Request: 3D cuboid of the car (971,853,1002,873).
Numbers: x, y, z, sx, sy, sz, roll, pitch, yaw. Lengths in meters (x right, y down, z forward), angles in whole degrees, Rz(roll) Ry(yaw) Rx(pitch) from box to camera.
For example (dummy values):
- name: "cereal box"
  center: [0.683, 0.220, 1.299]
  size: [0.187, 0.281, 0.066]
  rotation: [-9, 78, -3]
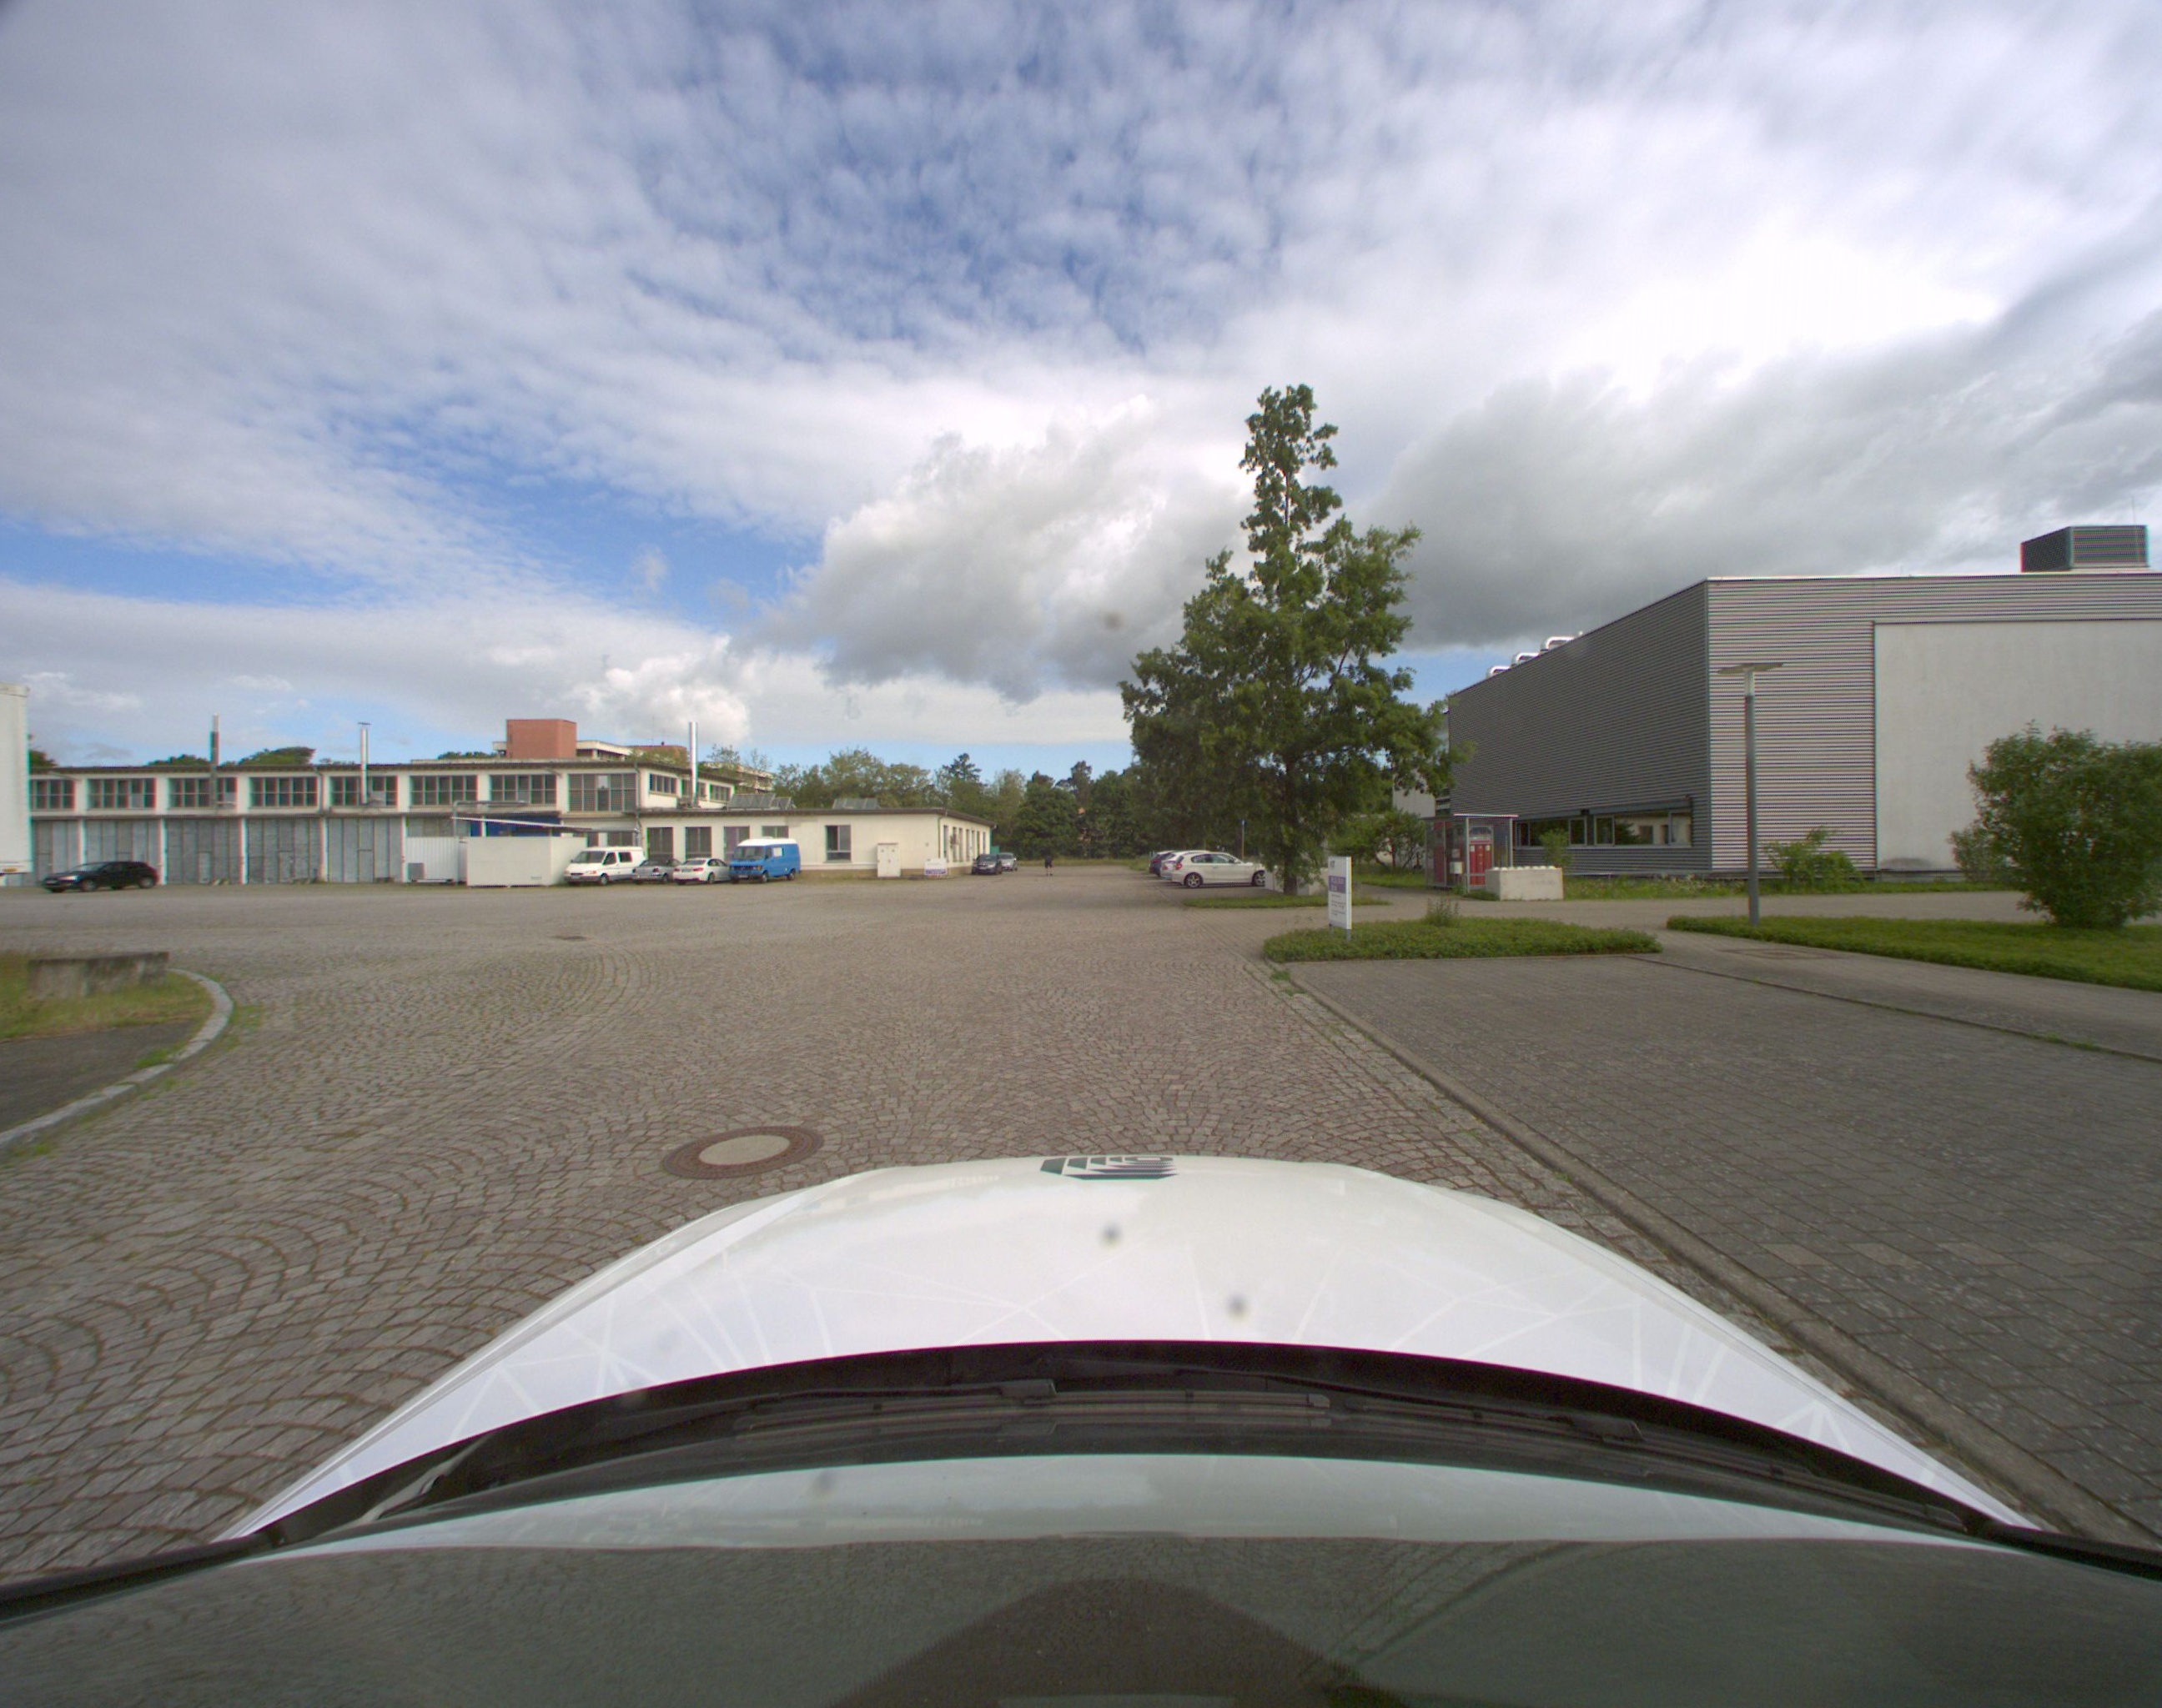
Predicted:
- name: "car"
  center: [-6.533, 0.605, 56.862]
  size: [1.744, 1.364, 3.998]
  rotation: [-1, 0, -1]

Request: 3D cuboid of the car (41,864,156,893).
- name: "car"
  center: [-53.413, 1.313, 44.379]
  size: [1.659, 1.410, 3.725]
  rotation: [-1, 0, 1]

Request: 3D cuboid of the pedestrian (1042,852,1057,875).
- name: "pedestrian"
  center: [-2.202, 0.636, 56.997]
  size: [0.936, 1.568, 0.971]
  rotation: [-1, 0, 2]

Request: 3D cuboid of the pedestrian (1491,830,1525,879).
- name: "pedestrian"
  center: [17.230, 0.030, 32.851]
  size: [0.922, 1.936, 0.847]
  rotation: [0, 0, -29]

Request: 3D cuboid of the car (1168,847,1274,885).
- name: "car"
  center: [5.550, 0.484, 32.703]
  size: [3.972, 1.455, 2.001]
  rotation: [0, -1, 1]

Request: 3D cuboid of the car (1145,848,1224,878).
- name: "car"
  center: [5.398, 0.458, 42.822]
  size: [3.972, 1.455, 1.770]
  rotation: [-1, 0, 1]

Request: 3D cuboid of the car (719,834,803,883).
- name: "car"
  center: [-17.698, 0.251, 45.380]
  size: [1.984, 2.523, 5.625]
  rotation: [-1, 0, 5]

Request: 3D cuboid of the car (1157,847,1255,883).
- name: "car"
  center: [5.312, 0.458, 34.877]
  size: [3.972, 1.455, 1.698]
  rotation: [-1, 0, 1]

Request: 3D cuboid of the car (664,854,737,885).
- name: "car"
  center: [-20.573, 0.804, 44.197]
  size: [1.893, 1.575, 4.003]
  rotation: [-1, 0, 3]

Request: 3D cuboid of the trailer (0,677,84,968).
- name: "trailer"
  center: [-15.360, -0.371, 5.867]
  size: [2.645, 3.705, 10.732]
  rotation: [-1, 0, 4]

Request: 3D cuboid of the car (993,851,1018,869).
- name: "car"
  center: [-6.147, 0.483, 66.834]
  size: [1.744, 1.454, 3.998]
  rotation: [-1, 0, -1]

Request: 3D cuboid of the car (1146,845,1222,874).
- name: "car"
  center: [5.805, 0.322, 46.033]
  size: [3.977, 1.533, 1.998]
  rotation: [-1, 0, -3]

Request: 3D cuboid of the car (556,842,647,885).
- name: "car"
  center: [-26.228, 0.508, 44.778]
  size: [1.892, 2.206, 4.788]
  rotation: [-1, 0, 4]

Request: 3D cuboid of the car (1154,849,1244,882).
- name: "car"
  center: [5.450, 0.531, 37.916]
  size: [3.972, 1.455, 1.770]
  rotation: [-1, 0, 1]

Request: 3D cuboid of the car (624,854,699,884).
- name: "car"
  center: [-23.204, 0.811, 45.215]
  size: [1.893, 1.575, 4.003]
  rotation: [-1, 0, 3]
